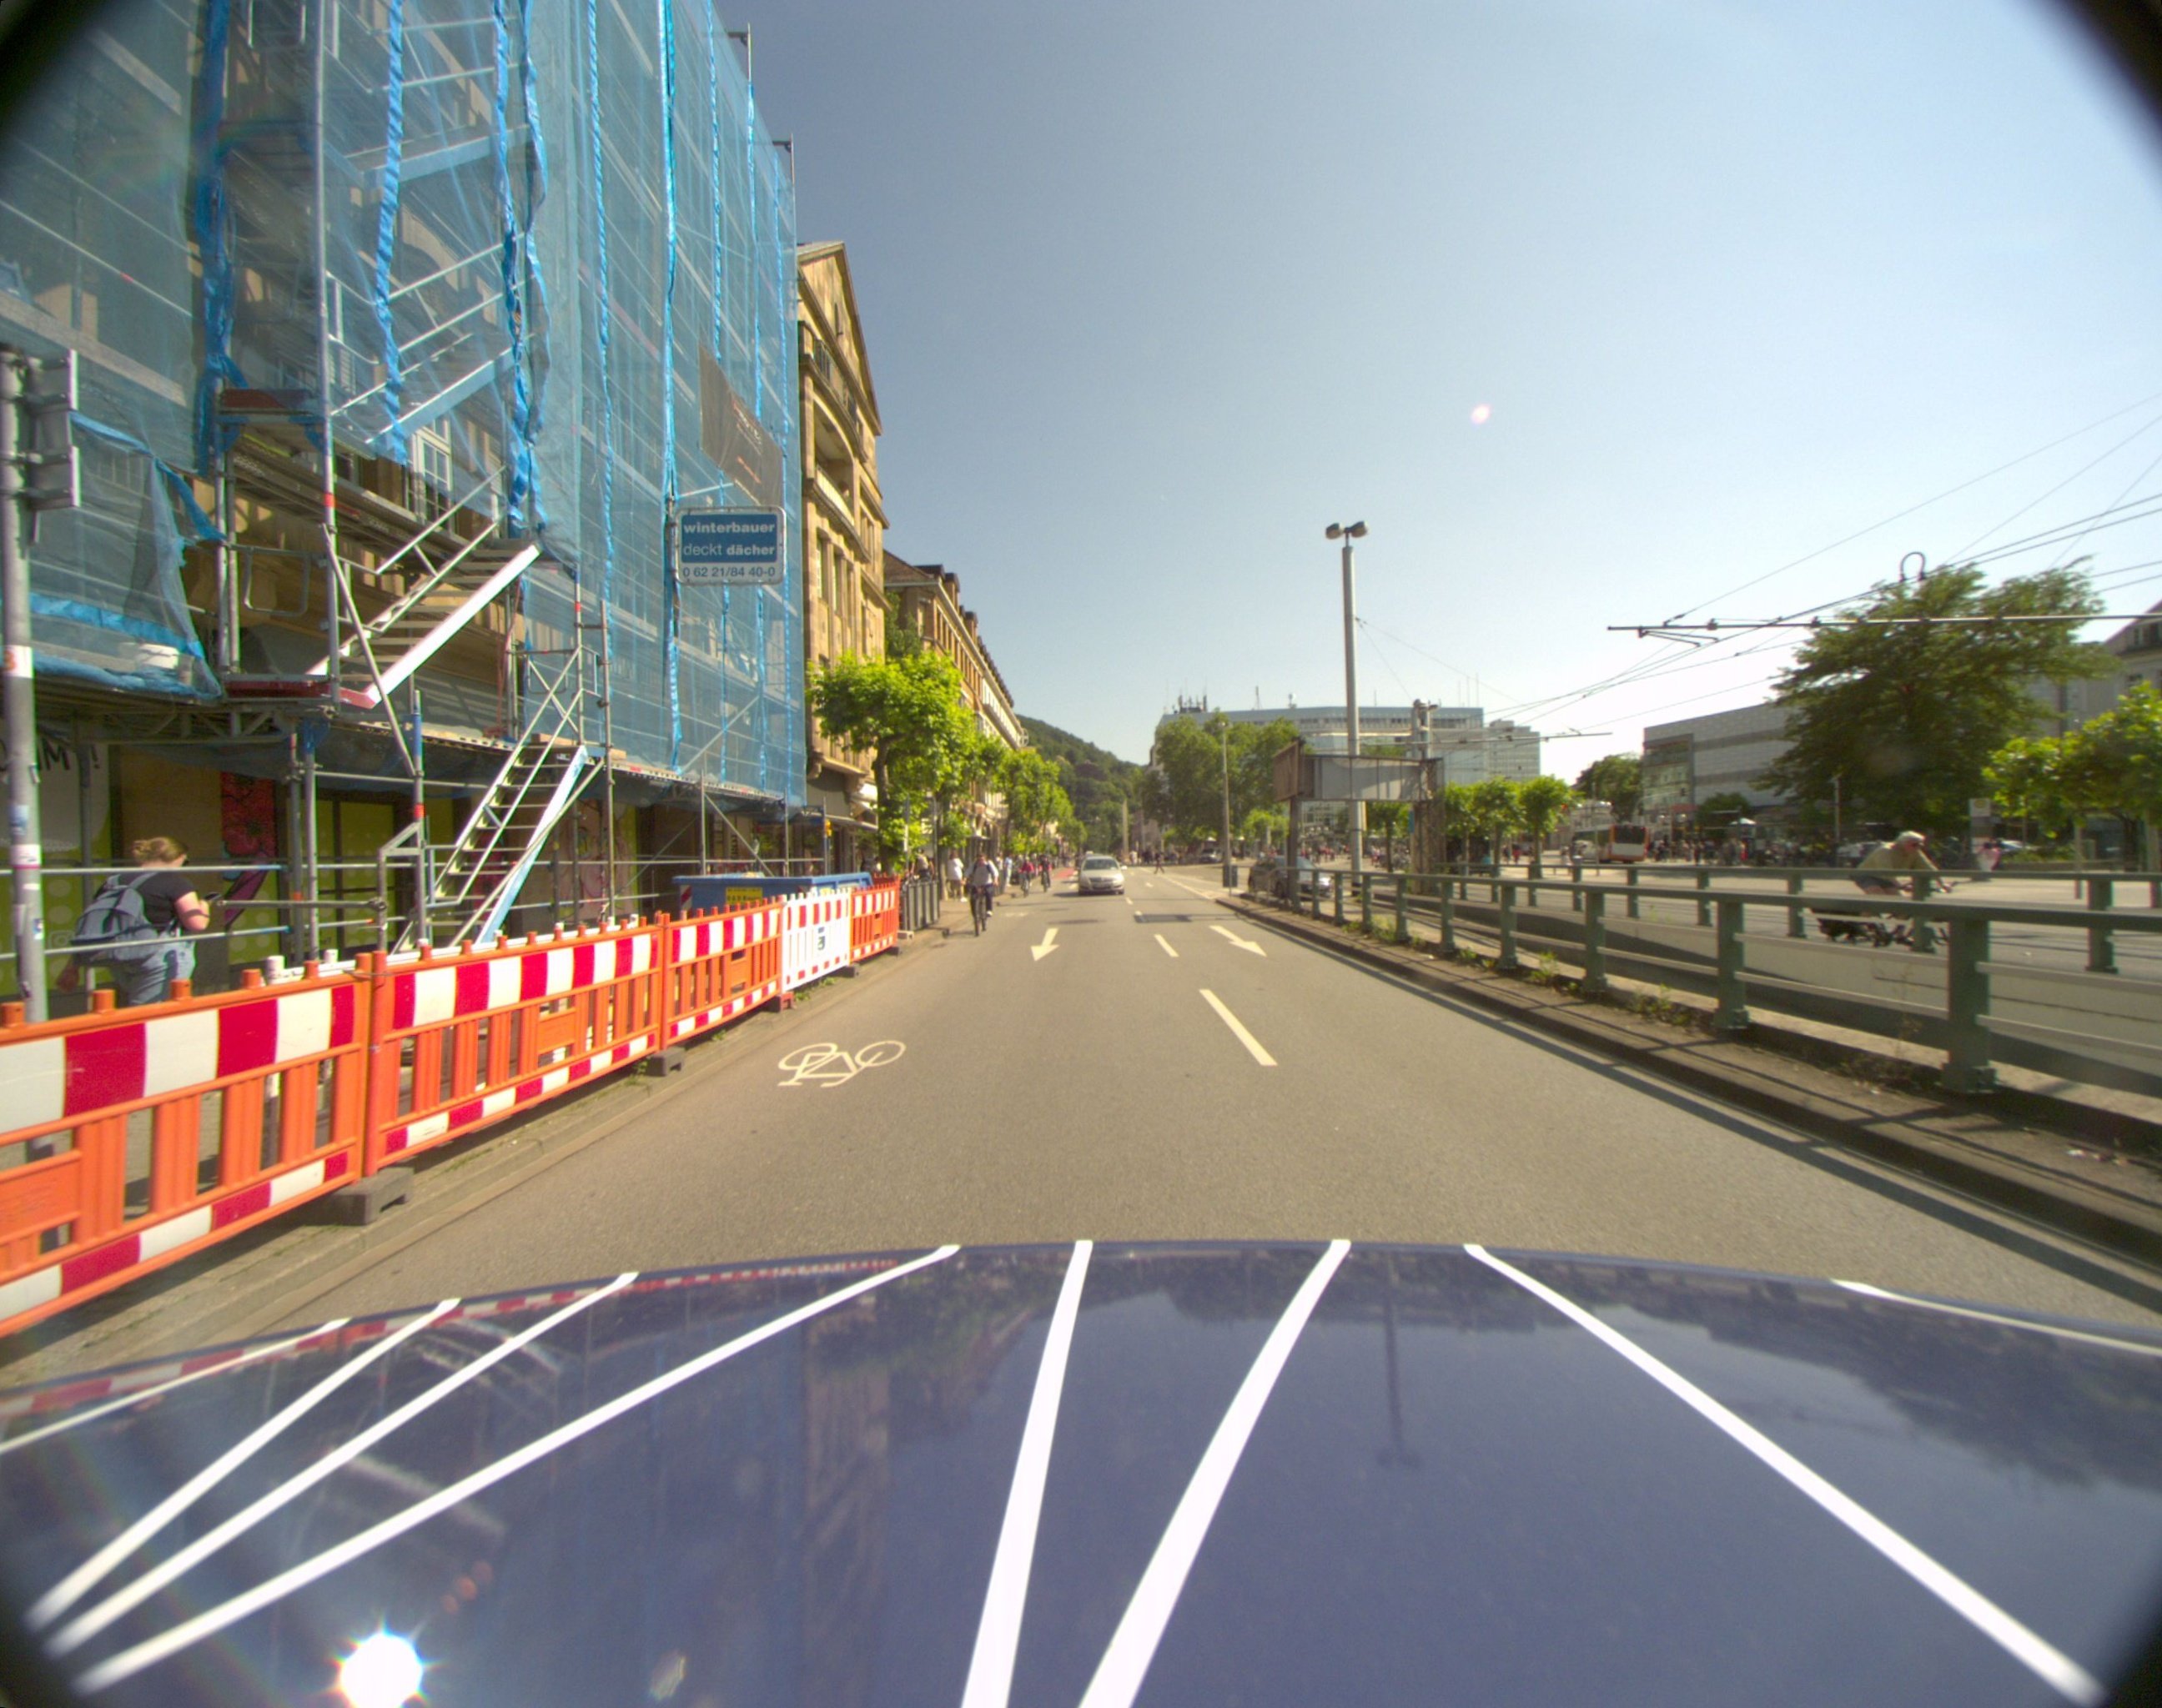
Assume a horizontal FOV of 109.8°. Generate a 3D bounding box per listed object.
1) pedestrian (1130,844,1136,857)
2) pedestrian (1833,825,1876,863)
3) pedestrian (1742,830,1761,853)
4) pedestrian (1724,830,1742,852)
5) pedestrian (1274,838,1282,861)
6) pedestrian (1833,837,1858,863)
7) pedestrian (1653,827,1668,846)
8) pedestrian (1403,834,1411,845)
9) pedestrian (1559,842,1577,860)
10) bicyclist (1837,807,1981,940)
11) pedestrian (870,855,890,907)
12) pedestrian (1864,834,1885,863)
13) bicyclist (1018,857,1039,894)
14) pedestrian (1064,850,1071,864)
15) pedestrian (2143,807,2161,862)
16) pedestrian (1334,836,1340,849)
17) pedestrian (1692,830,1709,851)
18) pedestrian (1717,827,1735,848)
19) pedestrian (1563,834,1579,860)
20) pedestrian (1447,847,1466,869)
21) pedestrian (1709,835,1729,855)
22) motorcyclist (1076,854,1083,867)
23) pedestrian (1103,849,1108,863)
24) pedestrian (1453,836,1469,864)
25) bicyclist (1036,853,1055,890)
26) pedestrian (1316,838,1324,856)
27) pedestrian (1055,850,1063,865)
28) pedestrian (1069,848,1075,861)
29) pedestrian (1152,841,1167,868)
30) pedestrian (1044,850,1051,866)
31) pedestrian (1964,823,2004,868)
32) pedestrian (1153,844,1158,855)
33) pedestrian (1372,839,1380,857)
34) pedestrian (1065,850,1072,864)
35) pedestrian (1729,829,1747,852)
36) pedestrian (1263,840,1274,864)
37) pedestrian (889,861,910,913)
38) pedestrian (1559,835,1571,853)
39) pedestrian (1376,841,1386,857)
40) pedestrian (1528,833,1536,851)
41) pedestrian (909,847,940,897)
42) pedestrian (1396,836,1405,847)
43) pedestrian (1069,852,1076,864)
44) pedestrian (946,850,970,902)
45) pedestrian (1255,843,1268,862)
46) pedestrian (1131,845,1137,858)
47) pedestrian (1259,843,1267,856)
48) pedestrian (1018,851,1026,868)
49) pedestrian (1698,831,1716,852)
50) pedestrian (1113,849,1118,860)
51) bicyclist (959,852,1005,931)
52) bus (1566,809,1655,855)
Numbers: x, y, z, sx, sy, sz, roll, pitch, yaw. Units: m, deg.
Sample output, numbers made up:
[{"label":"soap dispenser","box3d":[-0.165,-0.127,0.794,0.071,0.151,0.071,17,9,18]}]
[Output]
[{"label":"pedestrian","box3d":[7.013,-0.426,102.839,0.575,1.704,0.652,-4,1,0]},{"label":"pedestrian","box3d":[36.887,-0.448,36.256,0.967,1.783,1.081,0,1,10]},{"label":"pedestrian","box3d":[43.907,-0.826,49.790,0.625,1.457,0.680,0,1,-4]},{"label":"pedestrian","box3d":[43.507,-0.861,50.723,0.625,1.457,0.680,0,1,-4]},{"label":"pedestrian","box3d":[13.939,-0.314,53.744,0.525,1.600,0.627,0,1,10]},{"label":"pedestrian","box3d":[37.441,-0.186,37.201,0.622,1.256,0.582,0,1,10]},{"label":"pedestrian","box3d":[46.382,-1.396,60.806,0.624,1.457,0.681,0,1,4]},{"label":"pedestrian","box3d":[43.196,-1.895,100.560,0.757,1.464,0.555,-4,1,1]},{"label":"pedestrian","box3d":[26.553,-0.161,41.414,0.635,0.995,0.580,0,1,4]},{"label":"bicyclist","box3d":[10.547,0.240,9.718,0.819,1.612,0.902,1,1,1]},{"label":"pedestrian","box3d":[-6.554,0.870,24.737,0.477,1.673,0.381,-2,2,-32]},{"label":"pedestrian","box3d":[35.328,-0.234,33.832,0.404,1.256,0.481,0,1,-18]},{"label":"bicyclist","box3d":[-2.059,0.827,29.940,0.690,1.388,0.778,-4,1,0]},{"label":"pedestrian","box3d":[-1.739,0.403,99.570,0.605,1.726,0.647,-5,2,-18]},{"label":"pedestrian","box3d":[39.892,-0.712,27.929,0.630,1.996,0.736,0,1,6]},{"label":"pedestrian","box3d":[30.066,-1.318,89.342,0.477,1.540,0.451,0,1,-26]},{"label":"pedestrian","box3d":[43.221,-0.940,53.047,0.625,1.457,0.680,0,1,-2]},{"label":"pedestrian","box3d":[44.989,-1.117,53.010,0.625,1.457,0.680,0,1,-4]},{"label":"pedestrian","box3d":[30.181,-0.421,46.827,0.608,1.598,0.549,0,1,4]},{"label":"pedestrian","box3d":[20.895,0.221,42.279,0.677,1.164,0.752,0,1,-5]},{"label":"pedestrian","box3d":[45.265,-0.644,53.889,0.789,1.457,0.742,0,1,-4]},{"label":"motorcyclist","box3d":[-0.162,0.744,88.388,0.736,1.446,0.707,-4,1,1]},{"label":"pedestrian","box3d":[3.375,0.275,104.490,0.699,1.775,0.578,-1,1,-5]},{"label":"pedestrian","box3d":[21.793,-0.239,43.575,0.577,1.600,0.602,0,1,-28]},{"label":"bicyclist","box3d":[-1.547,0.748,33.380,0.690,1.568,0.778,-4,1,-2]},{"label":"pedestrian","box3d":[24.086,-0.687,76.557,0.577,1.805,0.605,0,1,1]},{"label":"pedestrian","box3d":[-2.622,0.407,90.746,0.579,1.675,0.620,-5,2,-38]},{"label":"pedestrian","box3d":[-1.274,0.076,111.334,0.649,1.770,0.622,0,3,16]},{"label":"pedestrian","box3d":[5.890,0.040,56.675,0.897,1.996,0.678,-1,1,-43]},{"label":"pedestrian","box3d":[-3.370,0.379,76.957,0.606,1.529,0.666,-4,1,0]},{"label":"pedestrian","box3d":[34.900,-0.322,29.375,0.678,1.696,0.705,0,1,0]},{"label":"pedestrian","box3d":[12.298,-0.720,125.553,0.732,1.660,0.640,-4,1,15]},{"label":"pedestrian","box3d":[26.503,-0.547,68.309,0.473,1.656,0.521,0,1,-21]},{"label":"pedestrian","box3d":[-1.670,0.395,98.677,0.579,1.675,0.726,-5,2,-22]},{"label":"pedestrian","box3d":[42.865,-0.877,49.595,0.624,1.457,0.681,0,1,6]},{"label":"pedestrian","box3d":[13.254,-0.141,53.680,0.527,1.723,0.586,0,1,-29]},{"label":"pedestrian","box3d":[-6.021,1.079,25.170,0.538,1.673,0.498,-2,2,-30]},{"label":"pedestrian","box3d":[38.596,-0.788,60.634,0.526,1.457,0.588,0,1,-19]},{"label":"pedestrian","box3d":[26.722,-0.426,67.734,0.626,1.457,0.552,0,1,-21]},{"label":"pedestrian","box3d":[38.426,-1.024,64.731,0.453,1.457,0.411,0,1,-34]},{"label":"pedestrian","box3d":[-5.793,0.657,28.219,0.816,1.838,0.891,-1,2,8]},{"label":"pedestrian","box3d":[41.957,-1.633,99.770,0.757,1.464,0.555,-4,1,1]},{"label":"pedestrian","box3d":[-1.161,0.506,101.186,0.672,1.488,0.637,-5,2,-13]},{"label":"pedestrian","box3d":[-4.157,0.731,25.681,0.659,1.674,0.652,-3,2,-17]},{"label":"pedestrian","box3d":[15.541,-0.105,65.480,0.895,1.649,0.680,0,0,-8]},{"label":"pedestrian","box3d":[7.386,-0.405,106.164,0.639,1.737,0.733,-4,1,0]},{"label":"pedestrian","box3d":[25.346,-0.649,105.616,0.752,1.737,0.782,-4,1,-9]},{"label":"pedestrian","box3d":[-6.096,0.578,78.880,0.658,1.686,0.676,-4,1,3]},{"label":"pedestrian","box3d":[42.881,-0.842,52.042,0.625,1.457,0.680,0,1,-4]},{"label":"pedestrian","box3d":[5.589,0.059,123.884,0.699,1.775,0.578,-1,1,-5]},{"label":"bicyclist","box3d":[-2.061,0.770,15.945,0.750,1.568,0.778,-4,1,0]},{"label":"bus","box3d":[45.249,-1.956,65.455,3.060,3.400,12.474,-4,1,20]}]
